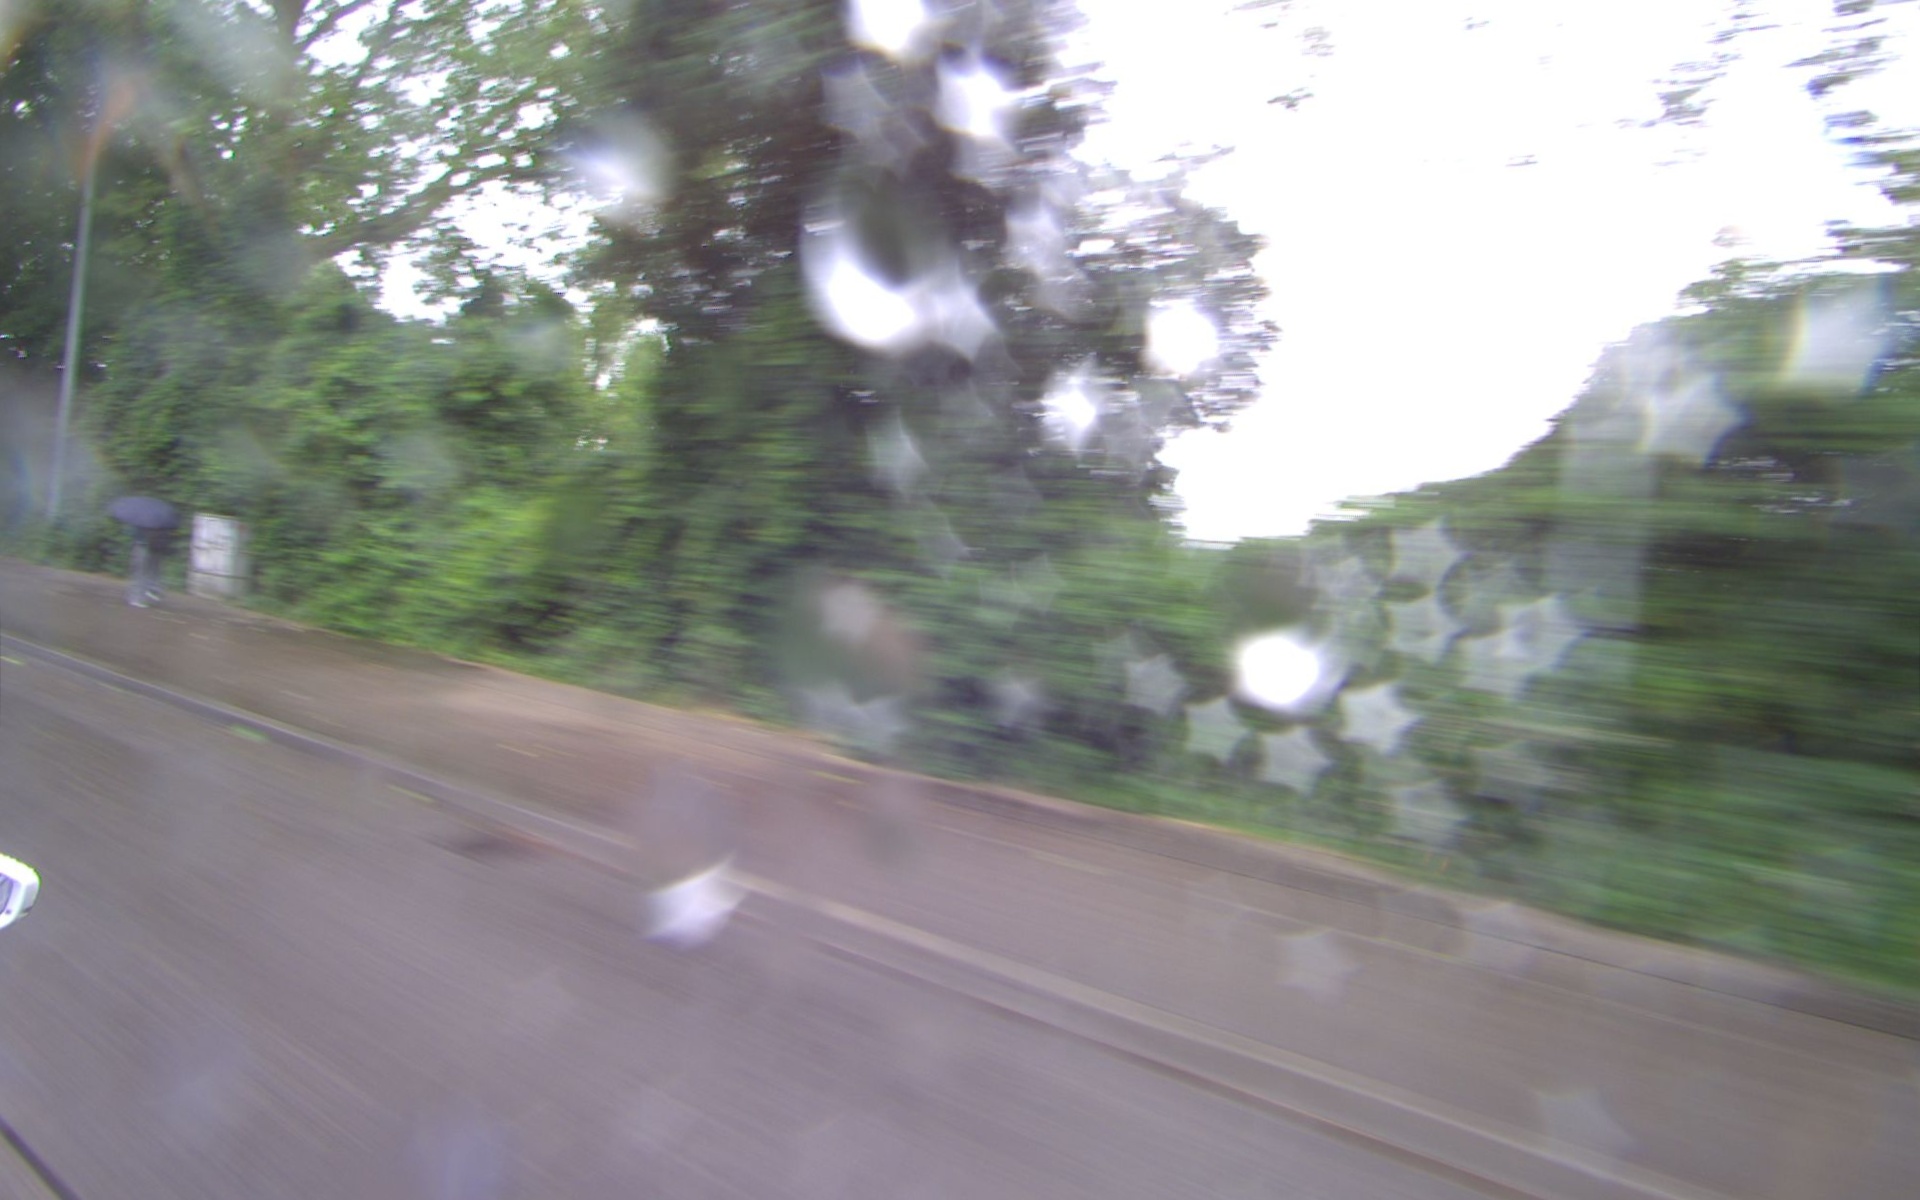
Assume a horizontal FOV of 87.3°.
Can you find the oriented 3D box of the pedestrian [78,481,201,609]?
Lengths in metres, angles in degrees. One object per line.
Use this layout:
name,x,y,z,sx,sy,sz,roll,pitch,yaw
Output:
pedestrian,-12.233,-0.808,15.010,1.121,1.723,0.968,7,0,31
